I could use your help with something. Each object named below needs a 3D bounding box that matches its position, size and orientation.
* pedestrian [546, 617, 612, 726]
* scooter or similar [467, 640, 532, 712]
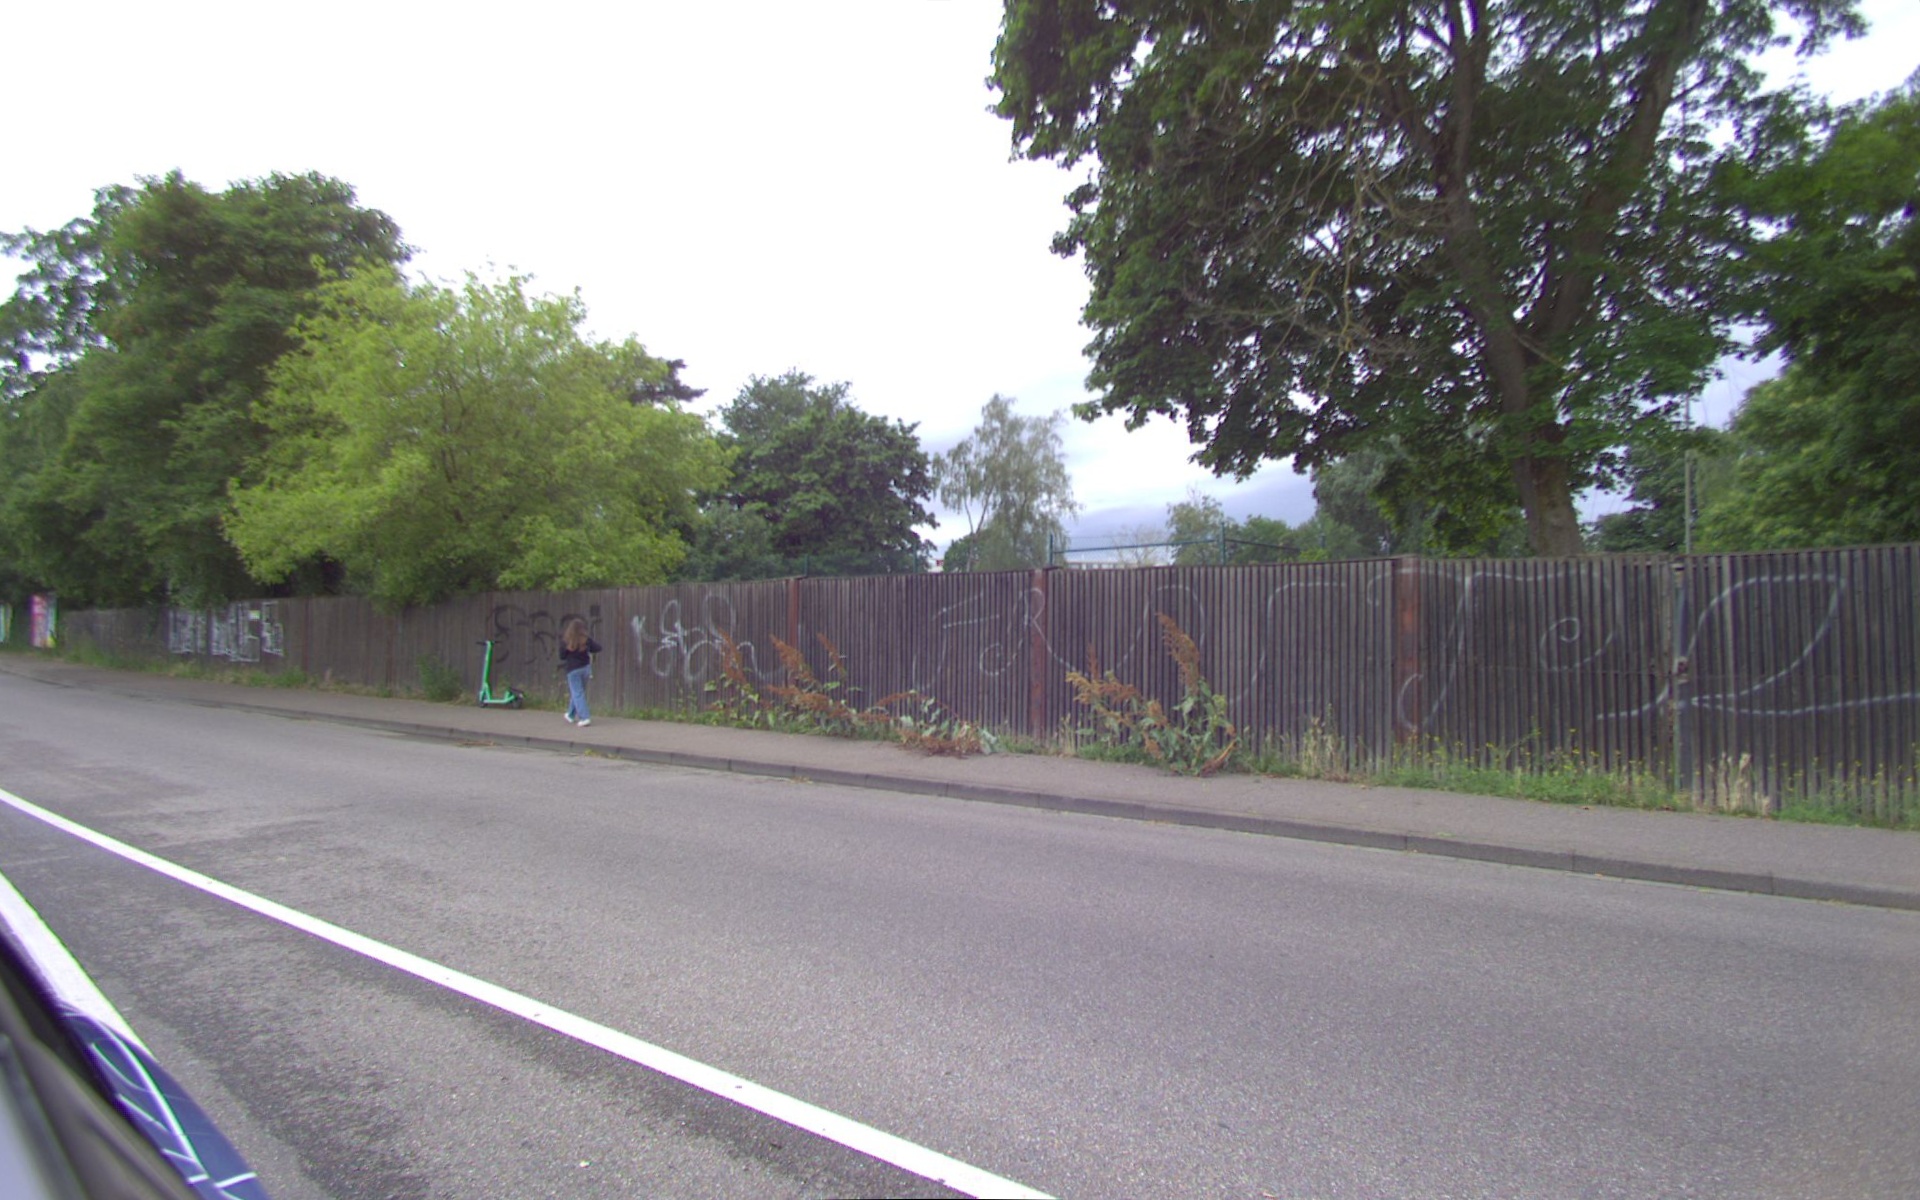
[{"bbox_3d":[-5.537,1.021,14.721,0.723,1.541,0.606,-1,-2,36],"label":"pedestrian"},{"bbox_3d":[-7.830,1.267,17.183,1.301,1.179,0.419,-1,-2,36],"label":"scooter or similar"}]
